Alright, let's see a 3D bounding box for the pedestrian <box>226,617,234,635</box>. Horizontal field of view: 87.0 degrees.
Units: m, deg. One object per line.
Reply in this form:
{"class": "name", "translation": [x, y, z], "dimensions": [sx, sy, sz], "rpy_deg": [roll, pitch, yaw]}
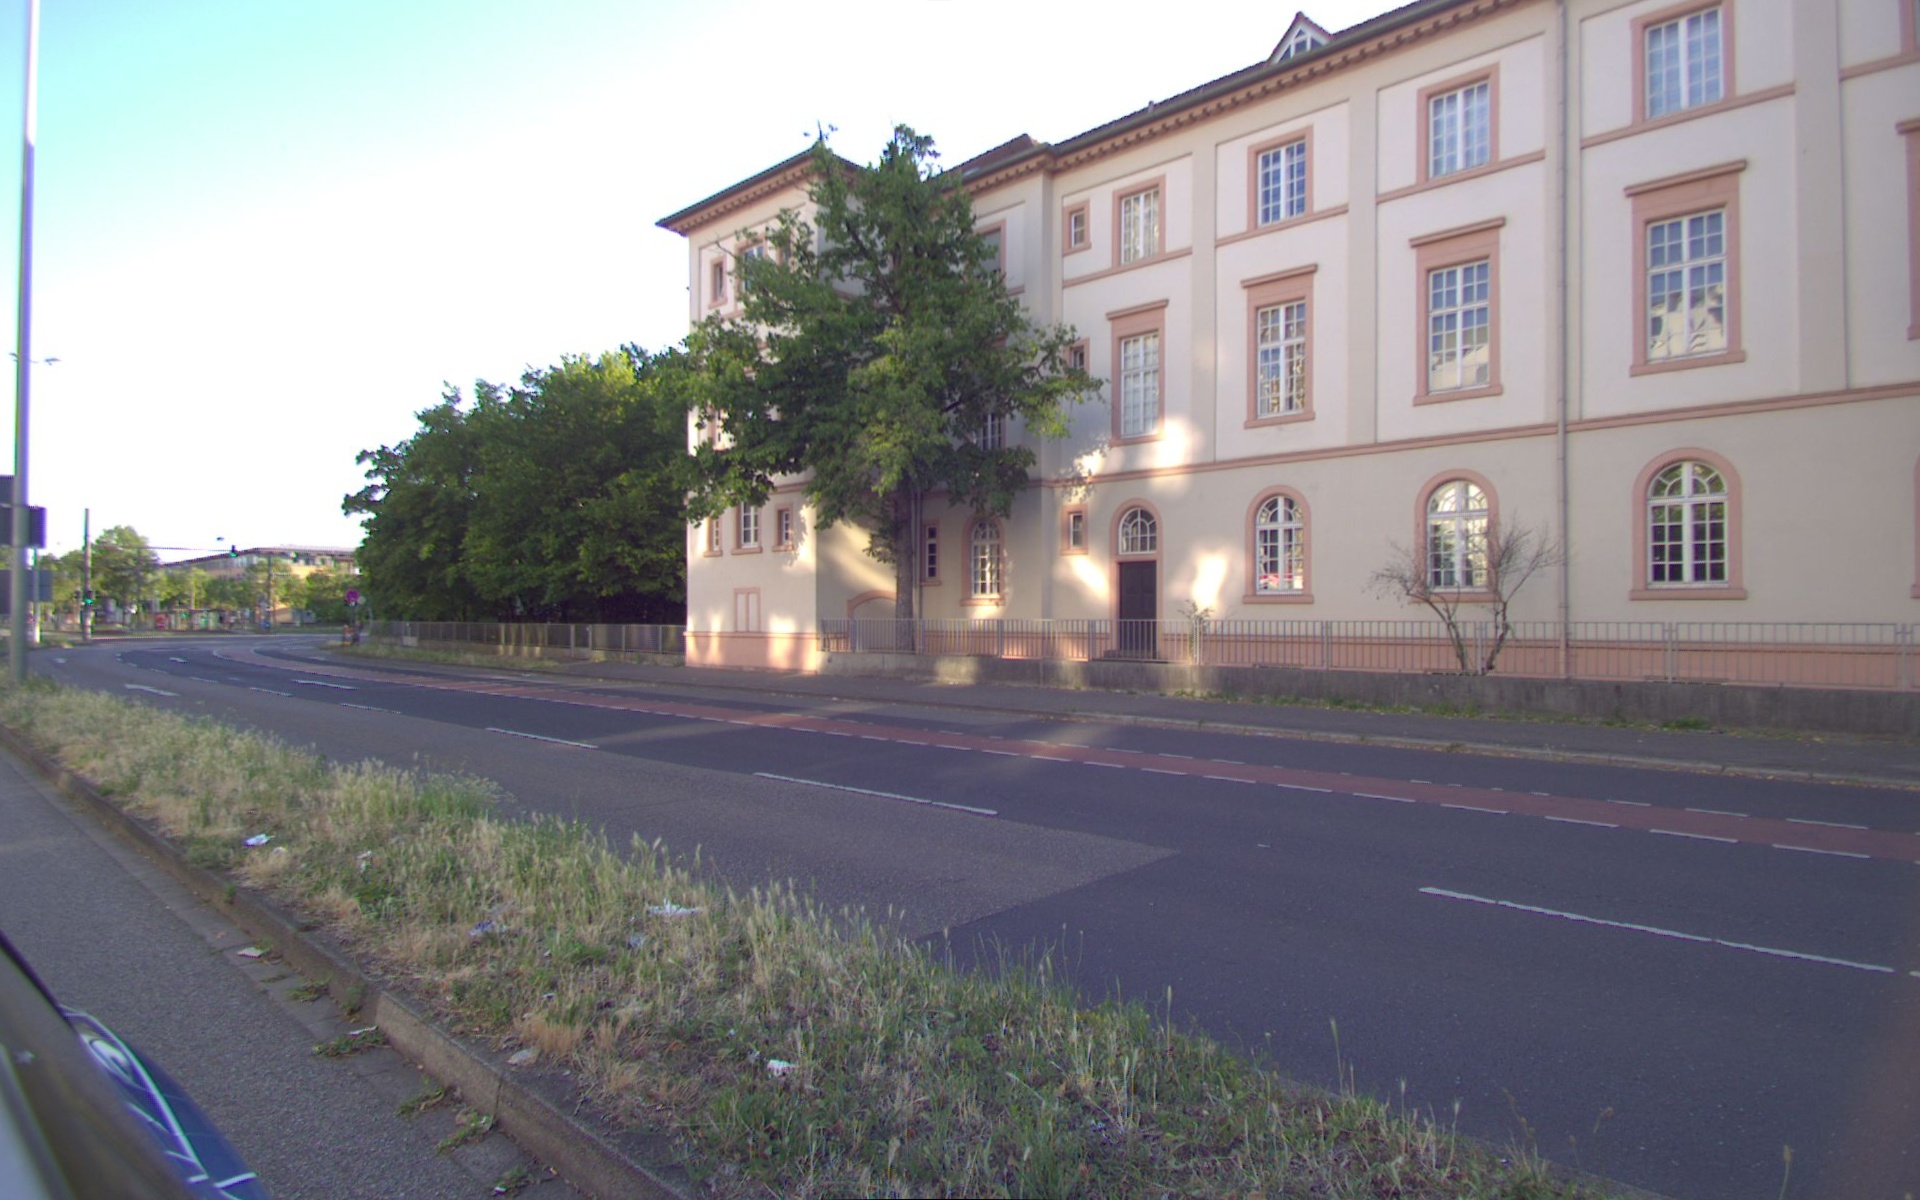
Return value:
{"class": "pedestrian", "translation": [-82.607, 2.996, 114.531], "dimensions": [0.664, 2.029, 0.549], "rpy_deg": [-1, -2, 41]}

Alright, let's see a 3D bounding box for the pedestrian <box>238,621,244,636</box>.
{"class": "pedestrian", "translation": [-81.347, 3.199, 114.525], "dimensions": [0.419, 1.718, 0.461], "rpy_deg": [-1, -2, 41]}
